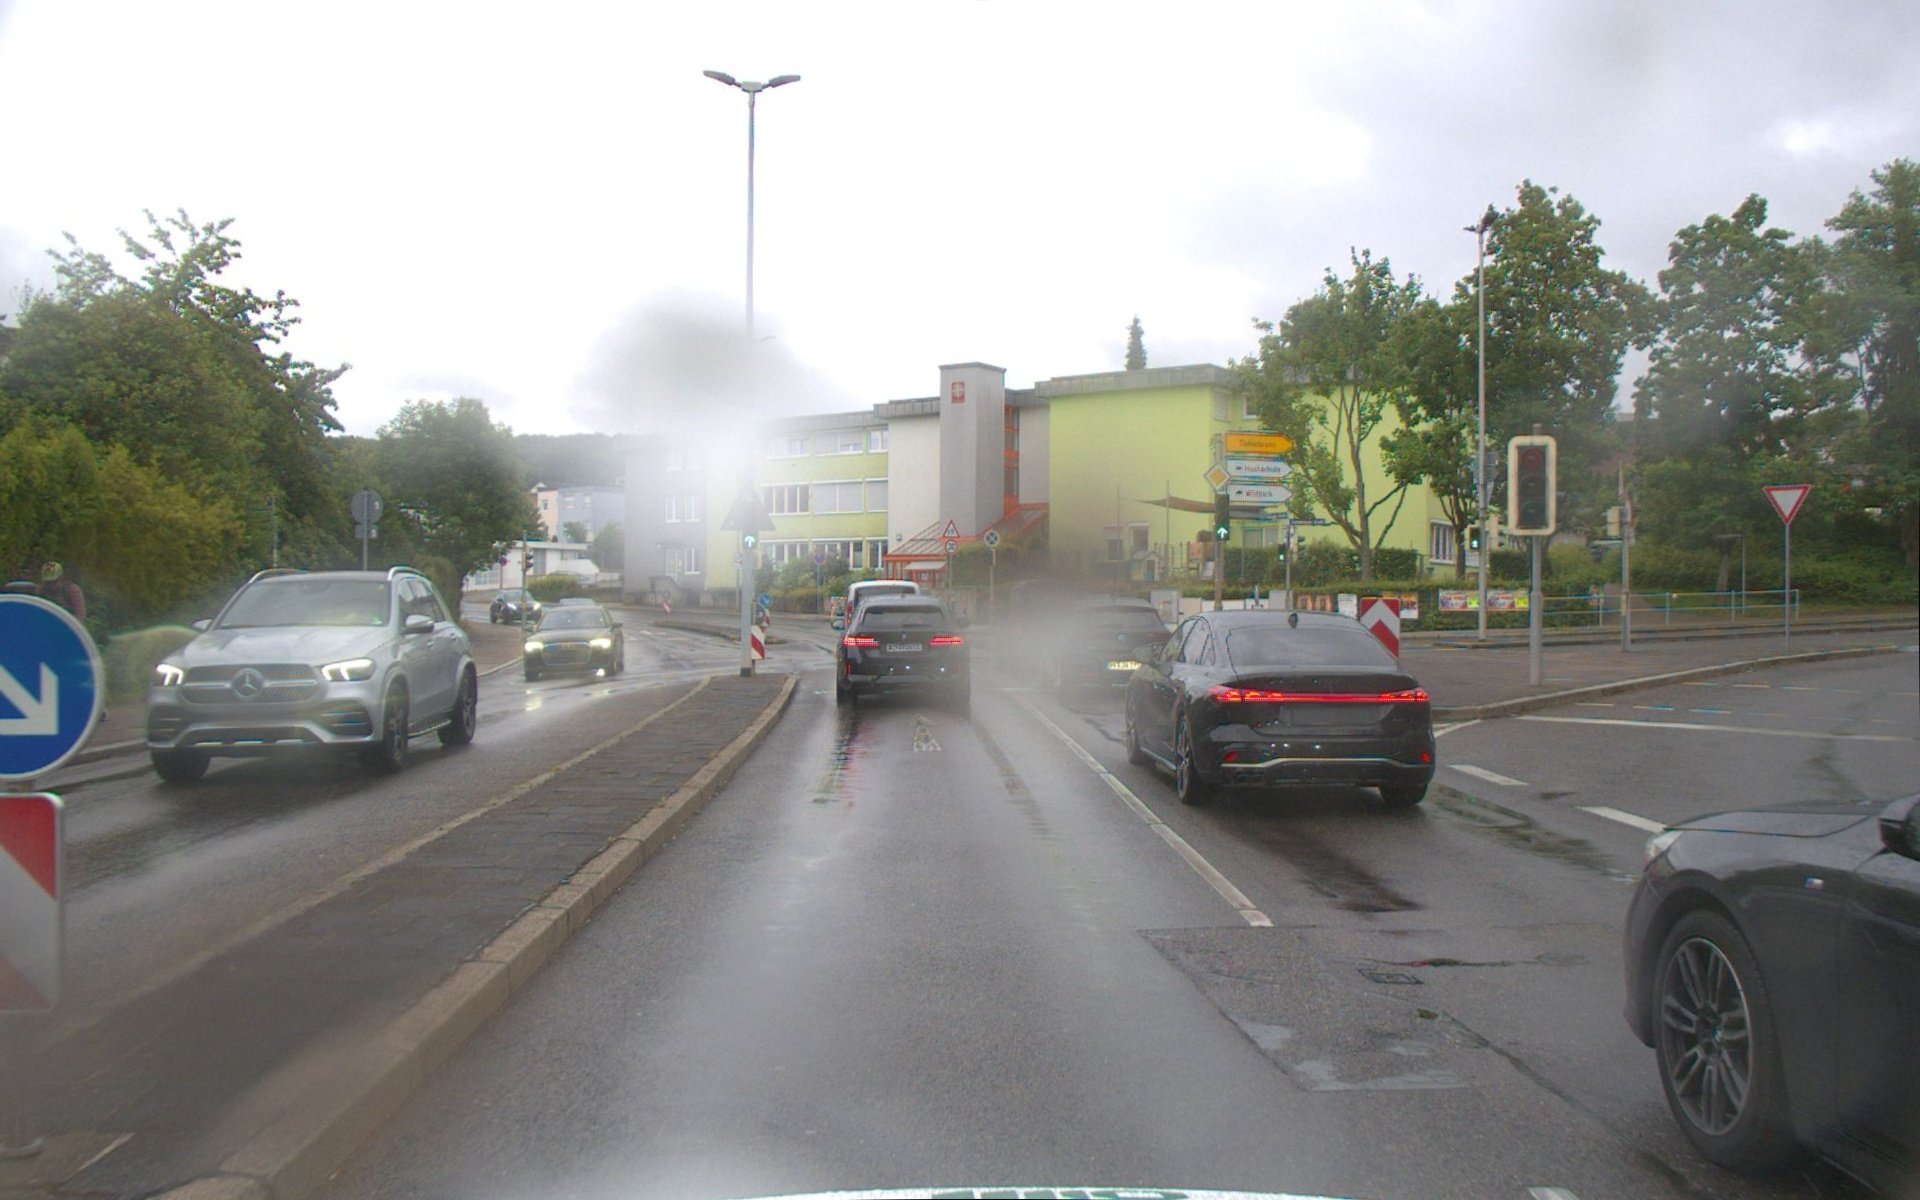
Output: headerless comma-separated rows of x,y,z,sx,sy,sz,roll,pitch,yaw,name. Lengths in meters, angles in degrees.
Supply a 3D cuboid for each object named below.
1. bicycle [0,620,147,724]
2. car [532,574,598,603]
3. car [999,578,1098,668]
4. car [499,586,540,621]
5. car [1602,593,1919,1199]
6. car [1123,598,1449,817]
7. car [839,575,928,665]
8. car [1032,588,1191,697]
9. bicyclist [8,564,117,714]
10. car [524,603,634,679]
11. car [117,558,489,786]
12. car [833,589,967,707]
-10.175,0.796,19.010,0.732,1.105,1.988,1,0,-3,bicycle
-27.801,-0.799,116.347,4.329,1.802,1.989,-3,0,-19,car
1.814,0.426,35.065,1.747,1.764,4.085,-1,1,-2,car
-21.894,0.170,82.150,1.820,1.592,3.982,1,1,-17,car
3.086,0.743,2.962,1.867,1.484,4.776,0,1,-2,car
2.468,0.733,13.631,1.672,1.452,4.507,0,1,-2,car
-1.787,0.404,37.443,1.684,1.876,4.081,1,1,-7,car
2.264,0.592,25.776,1.813,1.512,4.083,-1,1,-4,car
-10.153,0.432,18.738,0.749,1.640,0.867,1,0,-3,bicyclist
-8.103,0.826,35.501,1.704,1.462,4.551,-2,0,-6,car
-5.836,0.528,15.348,2.002,1.746,4.476,-1,1,-6,car
-0.935,0.623,23.821,1.650,1.532,3.769,-1,0,-6,car
